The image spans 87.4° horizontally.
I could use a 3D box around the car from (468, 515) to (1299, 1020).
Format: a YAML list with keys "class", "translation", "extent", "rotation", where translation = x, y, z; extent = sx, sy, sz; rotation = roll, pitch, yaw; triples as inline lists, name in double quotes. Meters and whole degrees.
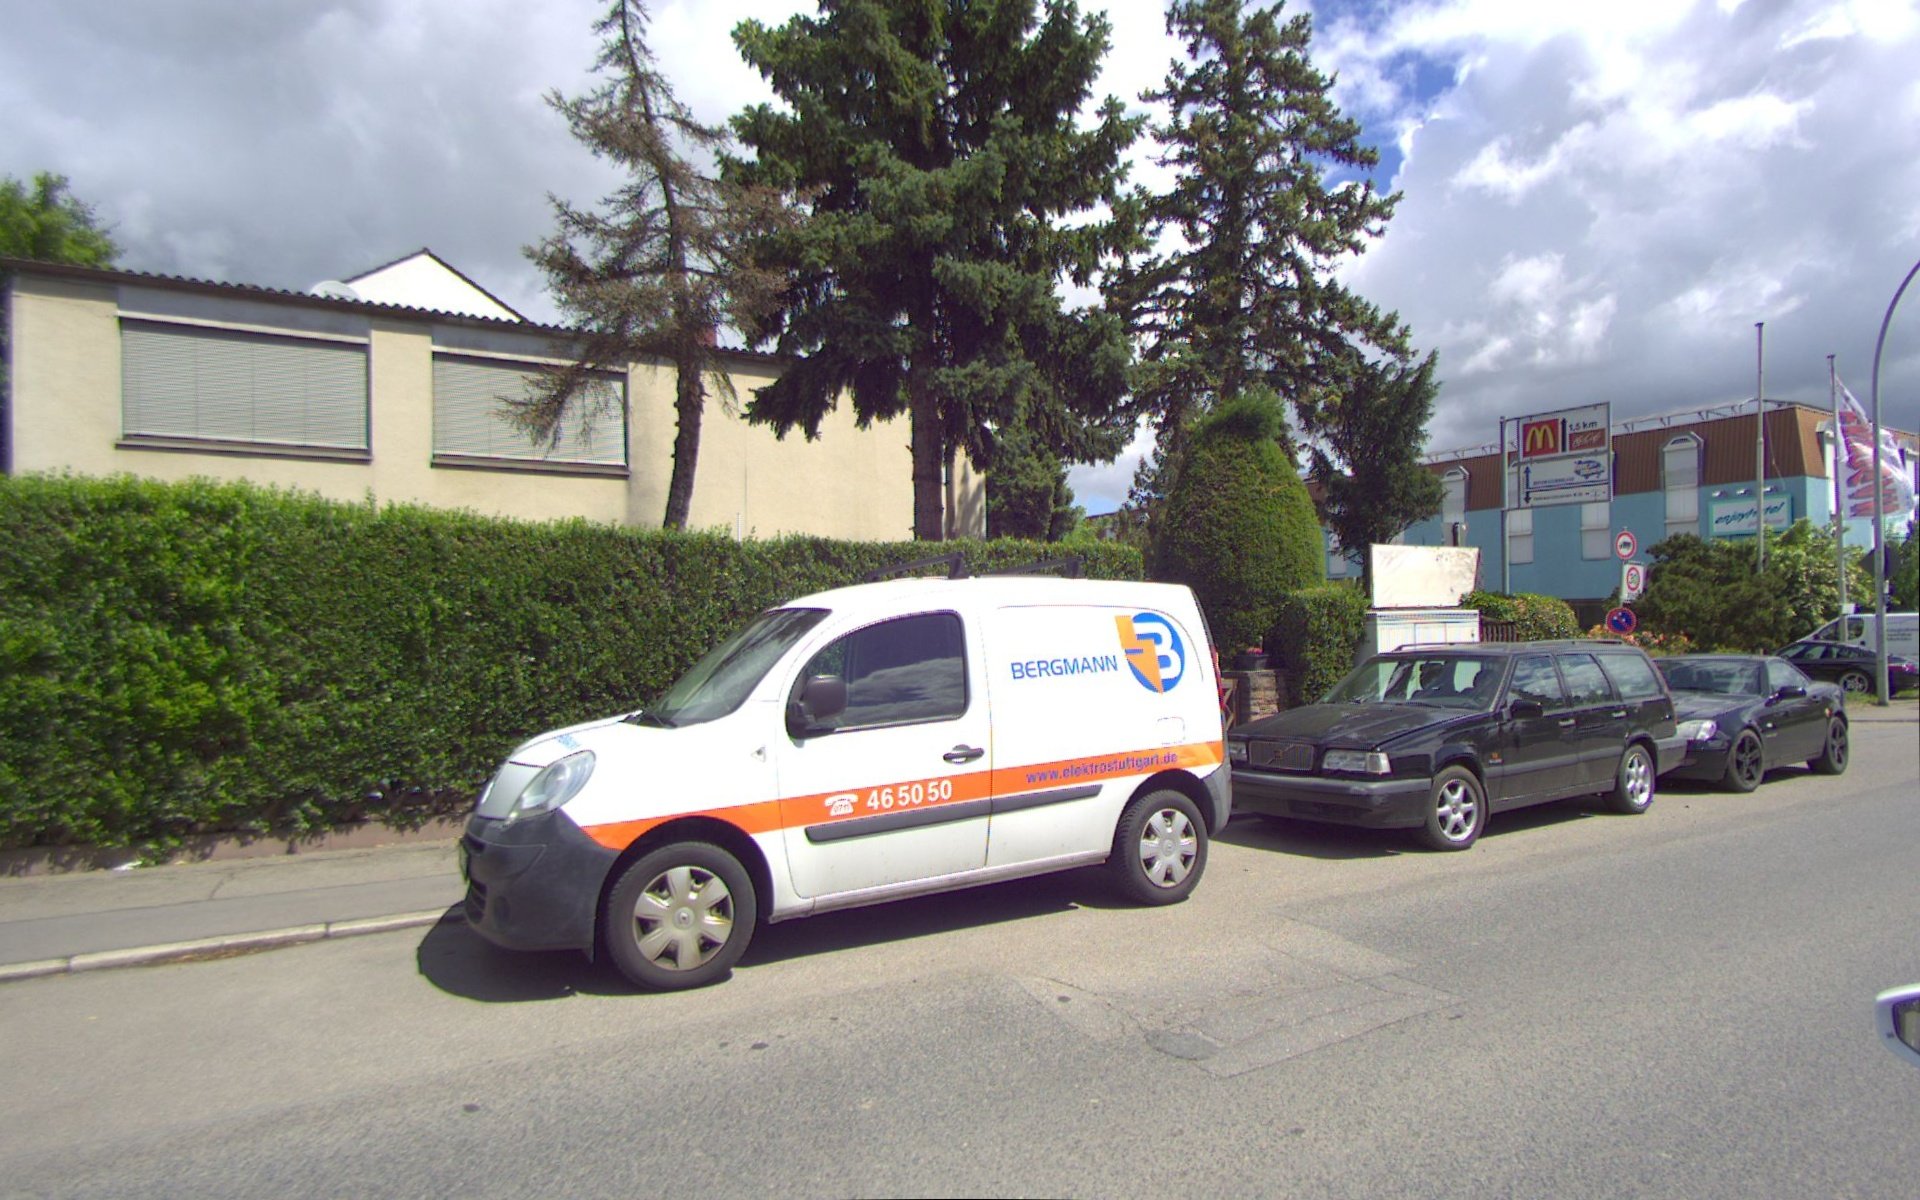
- class: "car"
  translation: [-0.280, 0.688, 5.619]
  extent: [4.307, 1.862, 1.735]
  rotation: [0, -4, -32]

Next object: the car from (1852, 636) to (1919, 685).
- class: "car"
  translation: [27.229, 1.659, 27.399]
  extent: [1.850, 1.332, 3.967]
  rotation: [1, -2, -31]

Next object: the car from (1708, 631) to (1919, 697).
- class: "car"
  translation: [20.212, 1.427, 23.487]
  extent: [1.850, 1.220, 3.966]
  rotation: [0, 1, -31]

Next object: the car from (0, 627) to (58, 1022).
- class: "car"
  translation: [-5.332, 0.845, 2.772]
  extent: [3.955, 1.506, 1.631]
  rotation: [0, -4, -32]

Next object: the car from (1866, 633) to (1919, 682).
- class: "car"
  translation: [28.937, 1.668, 28.833]
  extent: [1.848, 1.373, 3.972]
  rotation: [0, -1, -27]

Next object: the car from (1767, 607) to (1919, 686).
- class: "car"
  translation: [24.840, 1.207, 26.885]
  extent: [2.093, 1.998, 4.624]
  rotation: [0, -1, -33]

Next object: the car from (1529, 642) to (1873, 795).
- class: "car"
  translation: [8.128, 1.180, 10.926]
  extent: [4.072, 1.320, 1.622]
  rotation: [1, -4, -33]

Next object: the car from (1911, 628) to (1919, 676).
- class: "car"
  translation: [31.693, 1.600, 30.070]
  extent: [1.849, 1.498, 4.355]
  rotation: [2, -2, -29]

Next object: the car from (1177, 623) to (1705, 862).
- class: "car"
  translation: [4.128, 1.002, 8.380]
  extent: [4.592, 1.491, 1.735]
  rotation: [0, -4, -32]
